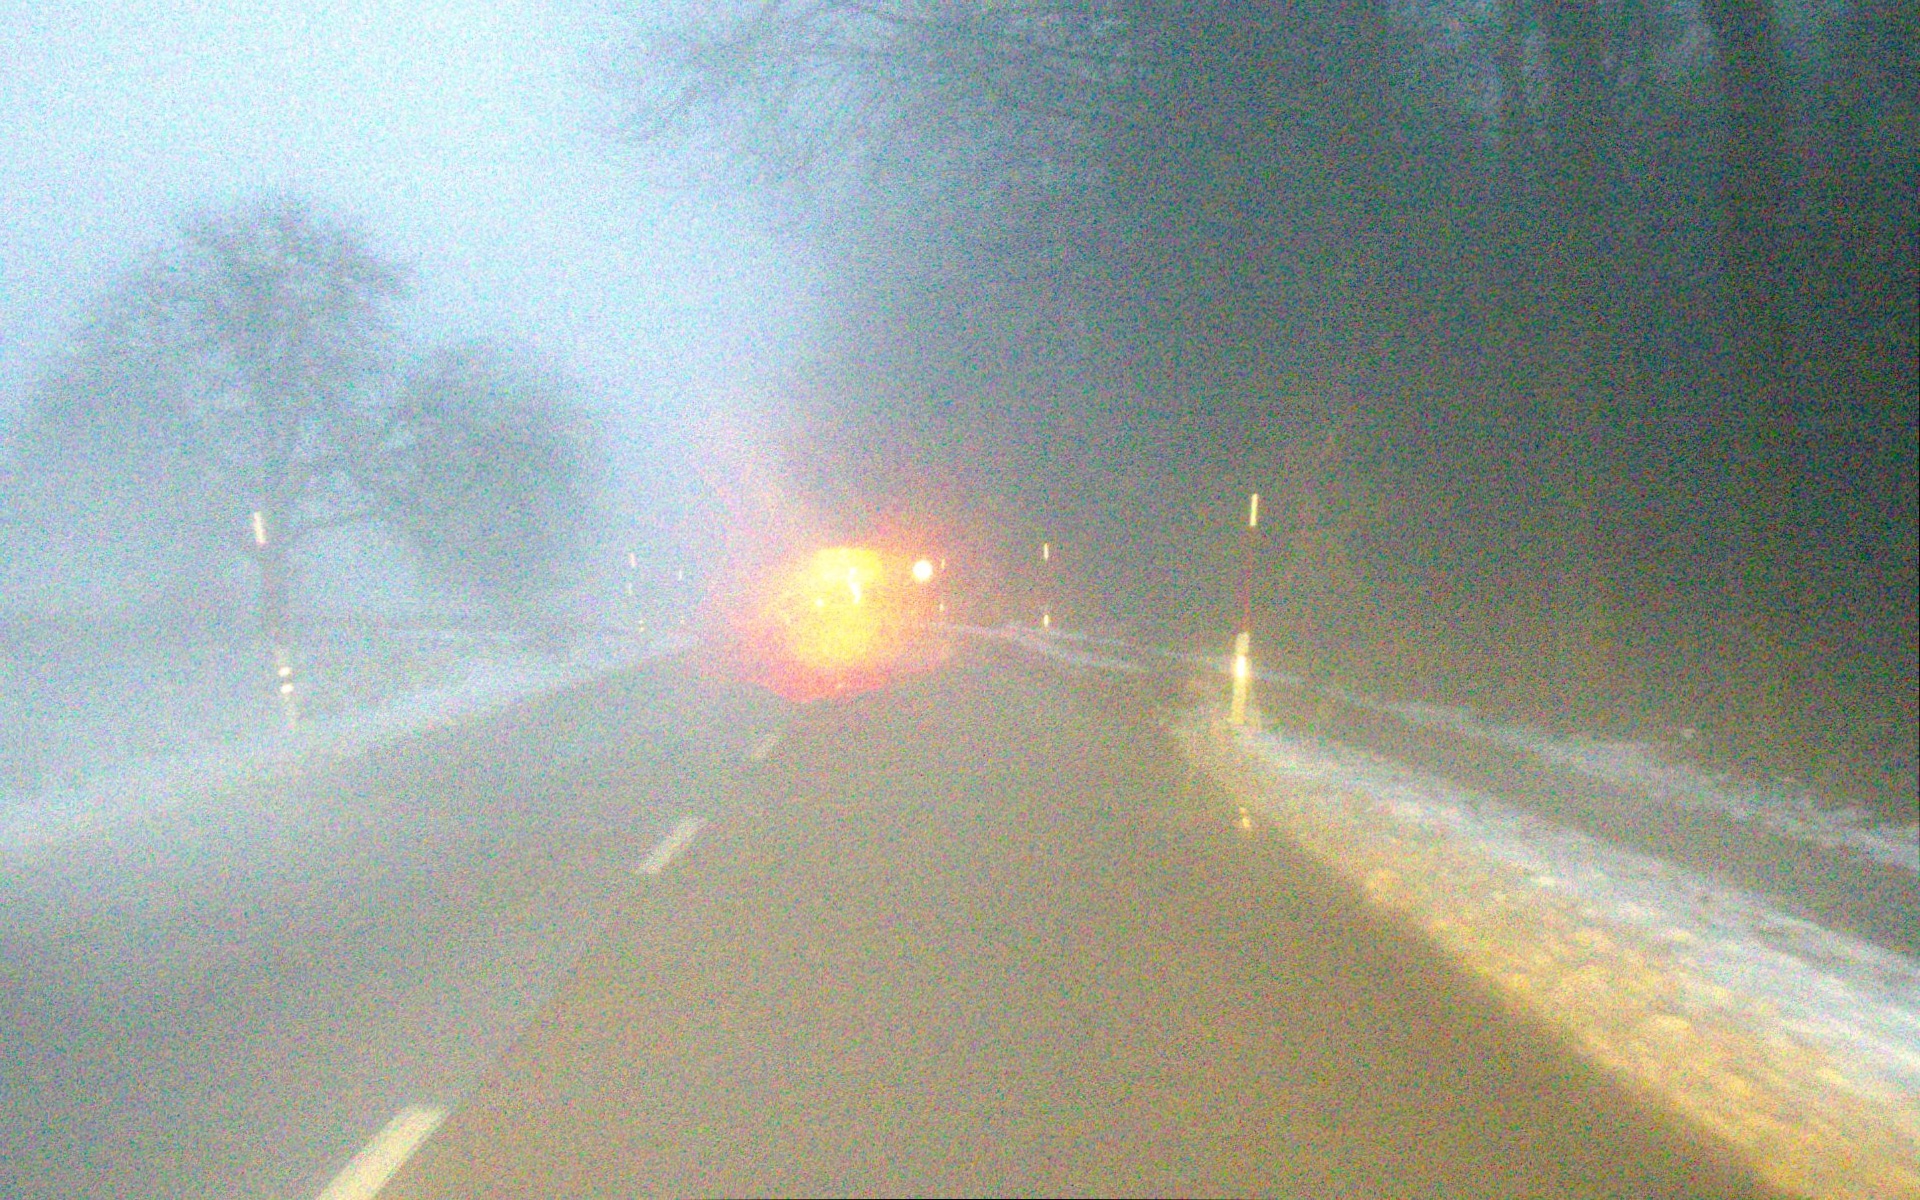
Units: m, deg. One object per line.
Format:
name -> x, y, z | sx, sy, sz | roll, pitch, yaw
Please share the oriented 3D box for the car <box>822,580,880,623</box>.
car -> -3.897, 0.044, 122.439 | 1.993, 1.415, 4.000 | -2, 1, -2
